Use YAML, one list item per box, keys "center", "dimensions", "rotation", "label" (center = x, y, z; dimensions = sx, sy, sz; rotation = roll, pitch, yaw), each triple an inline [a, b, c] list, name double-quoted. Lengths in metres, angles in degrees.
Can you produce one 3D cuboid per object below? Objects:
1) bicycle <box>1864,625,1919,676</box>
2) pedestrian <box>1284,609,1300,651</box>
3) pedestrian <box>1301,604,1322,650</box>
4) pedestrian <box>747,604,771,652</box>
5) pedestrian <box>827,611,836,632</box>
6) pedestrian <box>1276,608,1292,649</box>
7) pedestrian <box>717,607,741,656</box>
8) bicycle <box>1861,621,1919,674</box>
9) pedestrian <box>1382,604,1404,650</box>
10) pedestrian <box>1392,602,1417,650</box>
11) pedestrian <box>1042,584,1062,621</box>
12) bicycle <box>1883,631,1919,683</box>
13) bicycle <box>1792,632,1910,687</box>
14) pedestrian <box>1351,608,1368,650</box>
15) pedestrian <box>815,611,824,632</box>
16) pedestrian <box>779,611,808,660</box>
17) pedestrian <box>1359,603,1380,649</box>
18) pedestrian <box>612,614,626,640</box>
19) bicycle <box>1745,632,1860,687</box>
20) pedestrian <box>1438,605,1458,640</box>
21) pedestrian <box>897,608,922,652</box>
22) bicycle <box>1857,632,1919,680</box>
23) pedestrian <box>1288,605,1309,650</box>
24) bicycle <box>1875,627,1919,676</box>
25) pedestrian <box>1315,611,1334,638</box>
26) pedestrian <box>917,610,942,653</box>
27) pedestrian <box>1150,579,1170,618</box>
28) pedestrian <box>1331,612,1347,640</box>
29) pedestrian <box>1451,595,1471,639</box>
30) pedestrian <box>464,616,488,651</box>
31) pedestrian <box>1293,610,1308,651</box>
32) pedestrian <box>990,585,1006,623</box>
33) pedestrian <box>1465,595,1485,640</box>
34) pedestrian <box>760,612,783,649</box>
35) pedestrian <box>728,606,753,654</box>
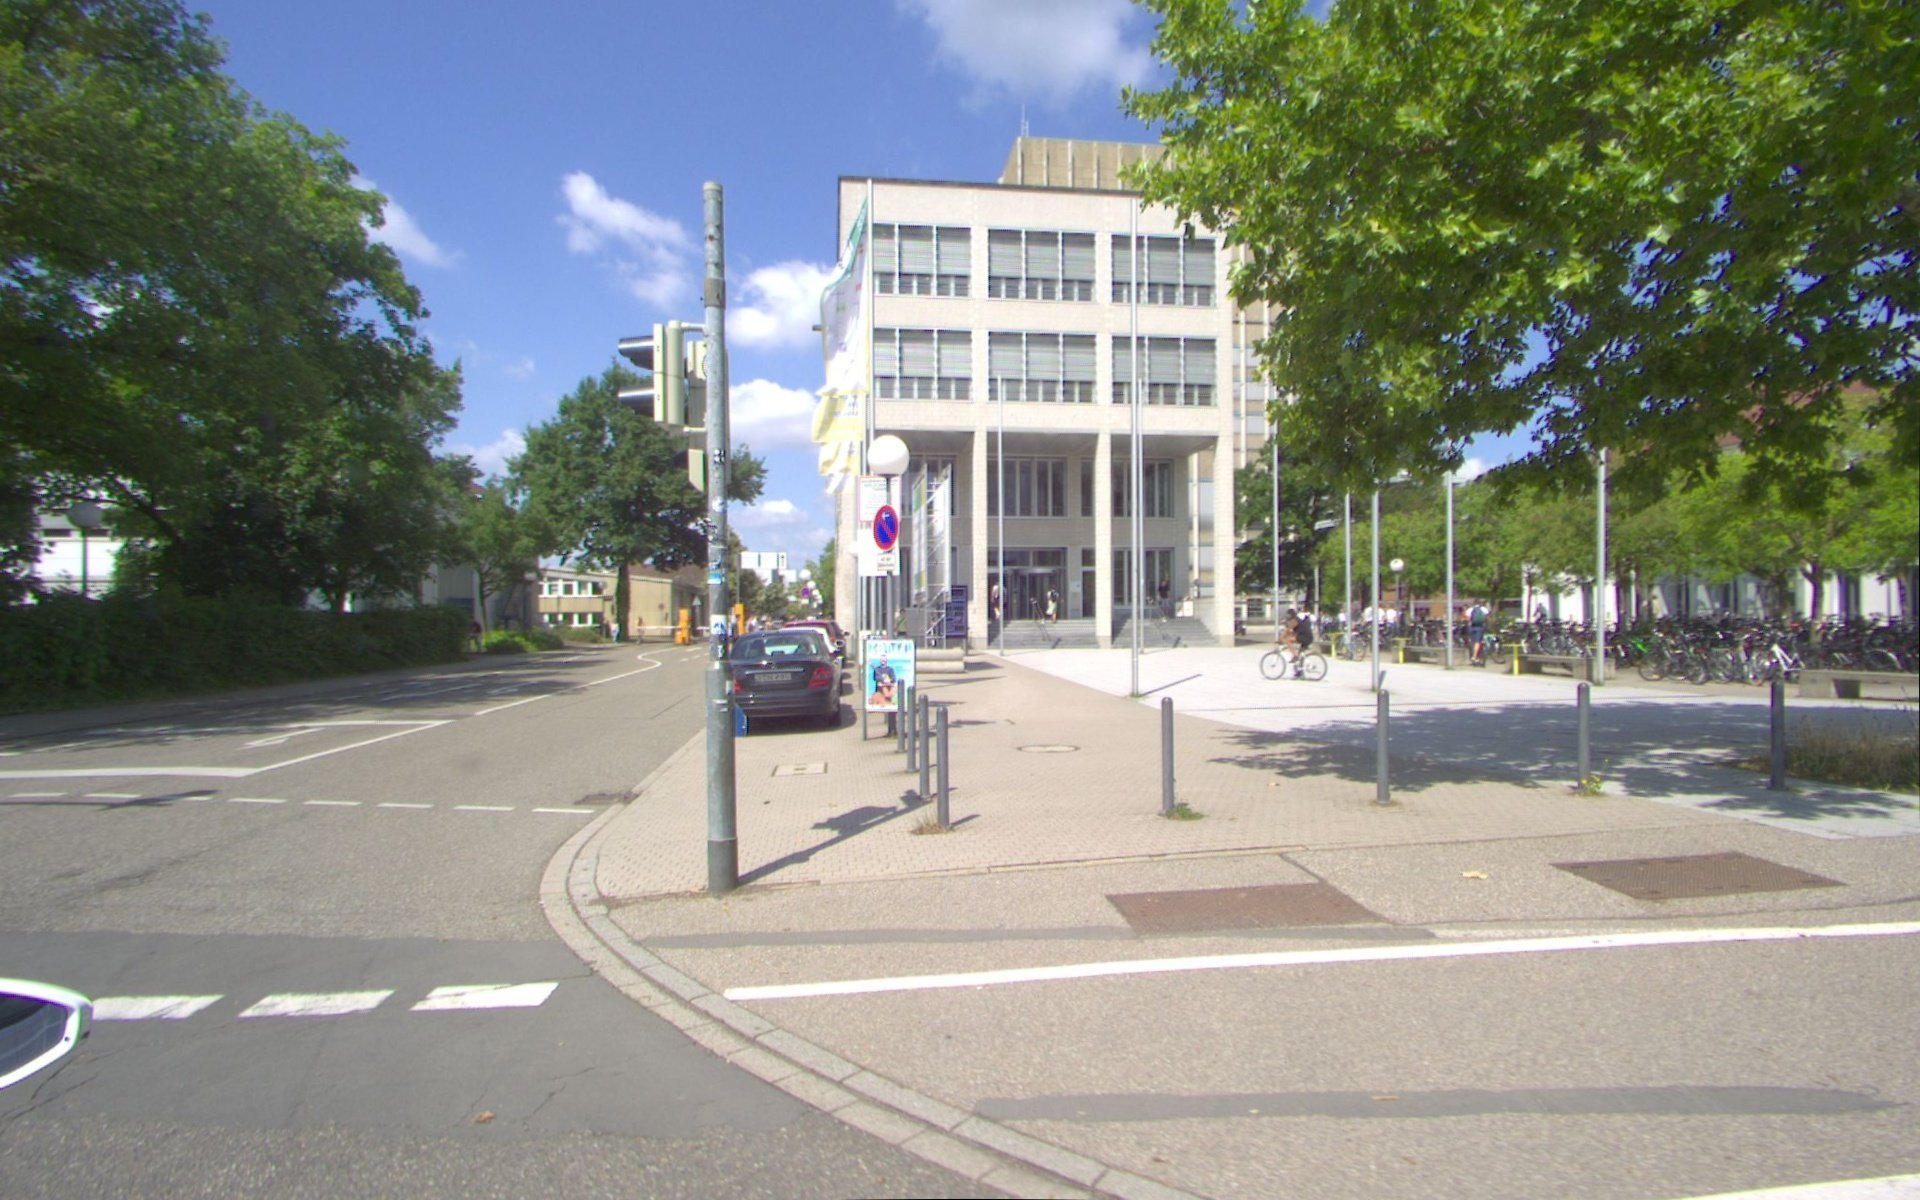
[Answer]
- center: [21.275, 1.107, 22.213]
  dimensions: [0.597, 1.113, 1.754]
  rotation: [0, -1, -37]
  label: "bicycle"
- center: [17.941, 1.633, 54.157]
  dimensions: [0.703, 2.257, 0.634]
  rotation: [-1, -2, 11]
  label: "pedestrian"
- center: [13.865, 1.082, 39.523]
  dimensions: [0.622, 1.768, 0.717]
  rotation: [-1, -2, 8]
  label: "pedestrian"
- center: [-8.328, 1.159, 41.466]
  dimensions: [0.712, 1.951, 0.750]
  rotation: [0, 0, 14]
  label: "pedestrian"
- center: [-11.047, 1.848, 86.101]
  dimensions: [0.755, 1.804, 0.910]
  rotation: [-2, 0, -9]
  label: "pedestrian"
- center: [18.112, 1.614, 55.947]
  dimensions: [0.703, 2.257, 0.634]
  rotation: [-1, -2, 11]
  label: "pedestrian"
- center: [-9.335, 1.275, 40.515]
  dimensions: [0.771, 1.951, 0.593]
  rotation: [0, 0, 15]
  label: "pedestrian"
- center: [20.267, 0.999, 21.132]
  dimensions: [0.597, 1.112, 1.755]
  rotation: [1, -3, -37]
  label: "bicycle"
- center: [21.246, 1.337, 49.132]
  dimensions: [0.627, 2.257, 0.711]
  rotation: [1, -2, -38]
  label: "pedestrian"
- center: [21.160, 1.266, 47.656]
  dimensions: [0.627, 2.257, 0.847]
  rotation: [1, -2, -41]
  label: "pedestrian"
- center: [4.040, 0.123, 44.004]
  dimensions: [0.706, 1.605, 0.717]
  rotation: [-1, -2, -5]
  label: "pedestrian"
- center: [21.034, 1.234, 21.465]
  dimensions: [0.597, 1.113, 1.754]
  rotation: [1, -1, -37]
  label: "bicycle"
- center: [18.801, 1.248, 21.163]
  dimensions: [0.597, 1.112, 1.755]
  rotation: [1, -3, -37]
  label: "bicycle"
- center: [21.347, 1.558, 53.549]
  dimensions: [0.703, 2.257, 0.634]
  rotation: [-1, -2, 11]
  label: "pedestrian"
- center: [-12.057, 1.865, 86.130]
  dimensions: [0.684, 1.804, 1.085]
  rotation: [-2, 0, -9]
  label: "pedestrian"
- center: [-6.693, 1.423, 40.312]
  dimensions: [1.077, 1.945, 1.020]
  rotation: [0, 0, -7]
  label: "pedestrian"
- center: [20.396, 1.279, 49.842]
  dimensions: [0.627, 2.257, 0.711]
  rotation: [1, -2, -38]
  label: "pedestrian"
- center: [-21.745, 1.712, 63.846]
  dimensions: [0.702, 1.648, 0.883]
  rotation: [0, 0, -9]
  label: "pedestrian"
- center: [17.873, 1.266, 21.278]
  dimensions: [0.597, 1.112, 1.755]
  rotation: [1, -3, -37]
  label: "bicycle"
- center: [25.332, 1.156, 52.008]
  dimensions: [0.708, 1.799, 0.629]
  rotation: [1, -2, -38]
  label: "pedestrian"
- center: [-2.037, 1.204, 40.344]
  dimensions: [0.903, 1.763, 1.001]
  rotation: [0, 0, -7]
  label: "pedestrian"
- center: [22.430, 1.326, 23.676]
  dimensions: [0.597, 1.113, 1.754]
  rotation: [1, -2, -37]
  label: "bicycle"
- center: [13.329, 1.084, 39.434]
  dimensions: [0.622, 1.768, 0.717]
  rotation: [-1, -2, 8]
  label: "pedestrian"
- center: [21.896, 1.166, 22.606]
  dimensions: [0.597, 1.113, 1.754]
  rotation: [1, -1, -37]
  label: "bicycle"
- center: [19.853, 1.344, 54.526]
  dimensions: [0.704, 1.454, 0.633]
  rotation: [0, -2, -16]
  label: "pedestrian"
- center: [-1.201, 1.230, 39.341]
  dimensions: [0.731, 1.661, 0.685]
  rotation: [0, 0, 44]
  label: "pedestrian"
- center: [9.560, -0.046, 47.866]
  dimensions: [0.706, 1.820, 0.717]
  rotation: [-1, -2, -5]
  label: "pedestrian"
- center: [20.395, 1.409, 53.916]
  dimensions: [0.703, 1.448, 0.634]
  rotation: [-1, -2, 11]
  label: "pedestrian"
- center: [25.750, 0.880, 51.467]
  dimensions: [0.708, 2.257, 0.629]
  rotation: [1, -2, -38]
  label: "pedestrian"
- center: [-21.960, 1.520, 45.454]
  dimensions: [0.836, 1.540, 0.521]
  rotation: [-1, -2, -5]
  label: "pedestrian"
- center: [19.001, 1.706, 55.895]
  dimensions: [0.703, 2.257, 0.634]
  rotation: [-1, -2, 11]
  label: "pedestrian"
- center: [1.710, 0.194, 45.287]
  dimensions: [0.622, 1.687, 0.717]
  rotation: [-1, -2, -5]
  label: "pedestrian"
- center: [26.183, 0.885, 50.918]
  dimensions: [0.708, 2.257, 0.629]
  rotation: [1, -2, -38]
  label: "pedestrian"
- center: [-8.994, 1.456, 47.747]
  dimensions: [0.618, 1.740, 1.032]
  rotation: [-1, 0, -39]
  label: "pedestrian"
- center: [-9.023, 1.219, 41.151]
  dimensions: [0.770, 1.951, 0.734]
  rotation: [0, 0, 15]
  label: "pedestrian"
